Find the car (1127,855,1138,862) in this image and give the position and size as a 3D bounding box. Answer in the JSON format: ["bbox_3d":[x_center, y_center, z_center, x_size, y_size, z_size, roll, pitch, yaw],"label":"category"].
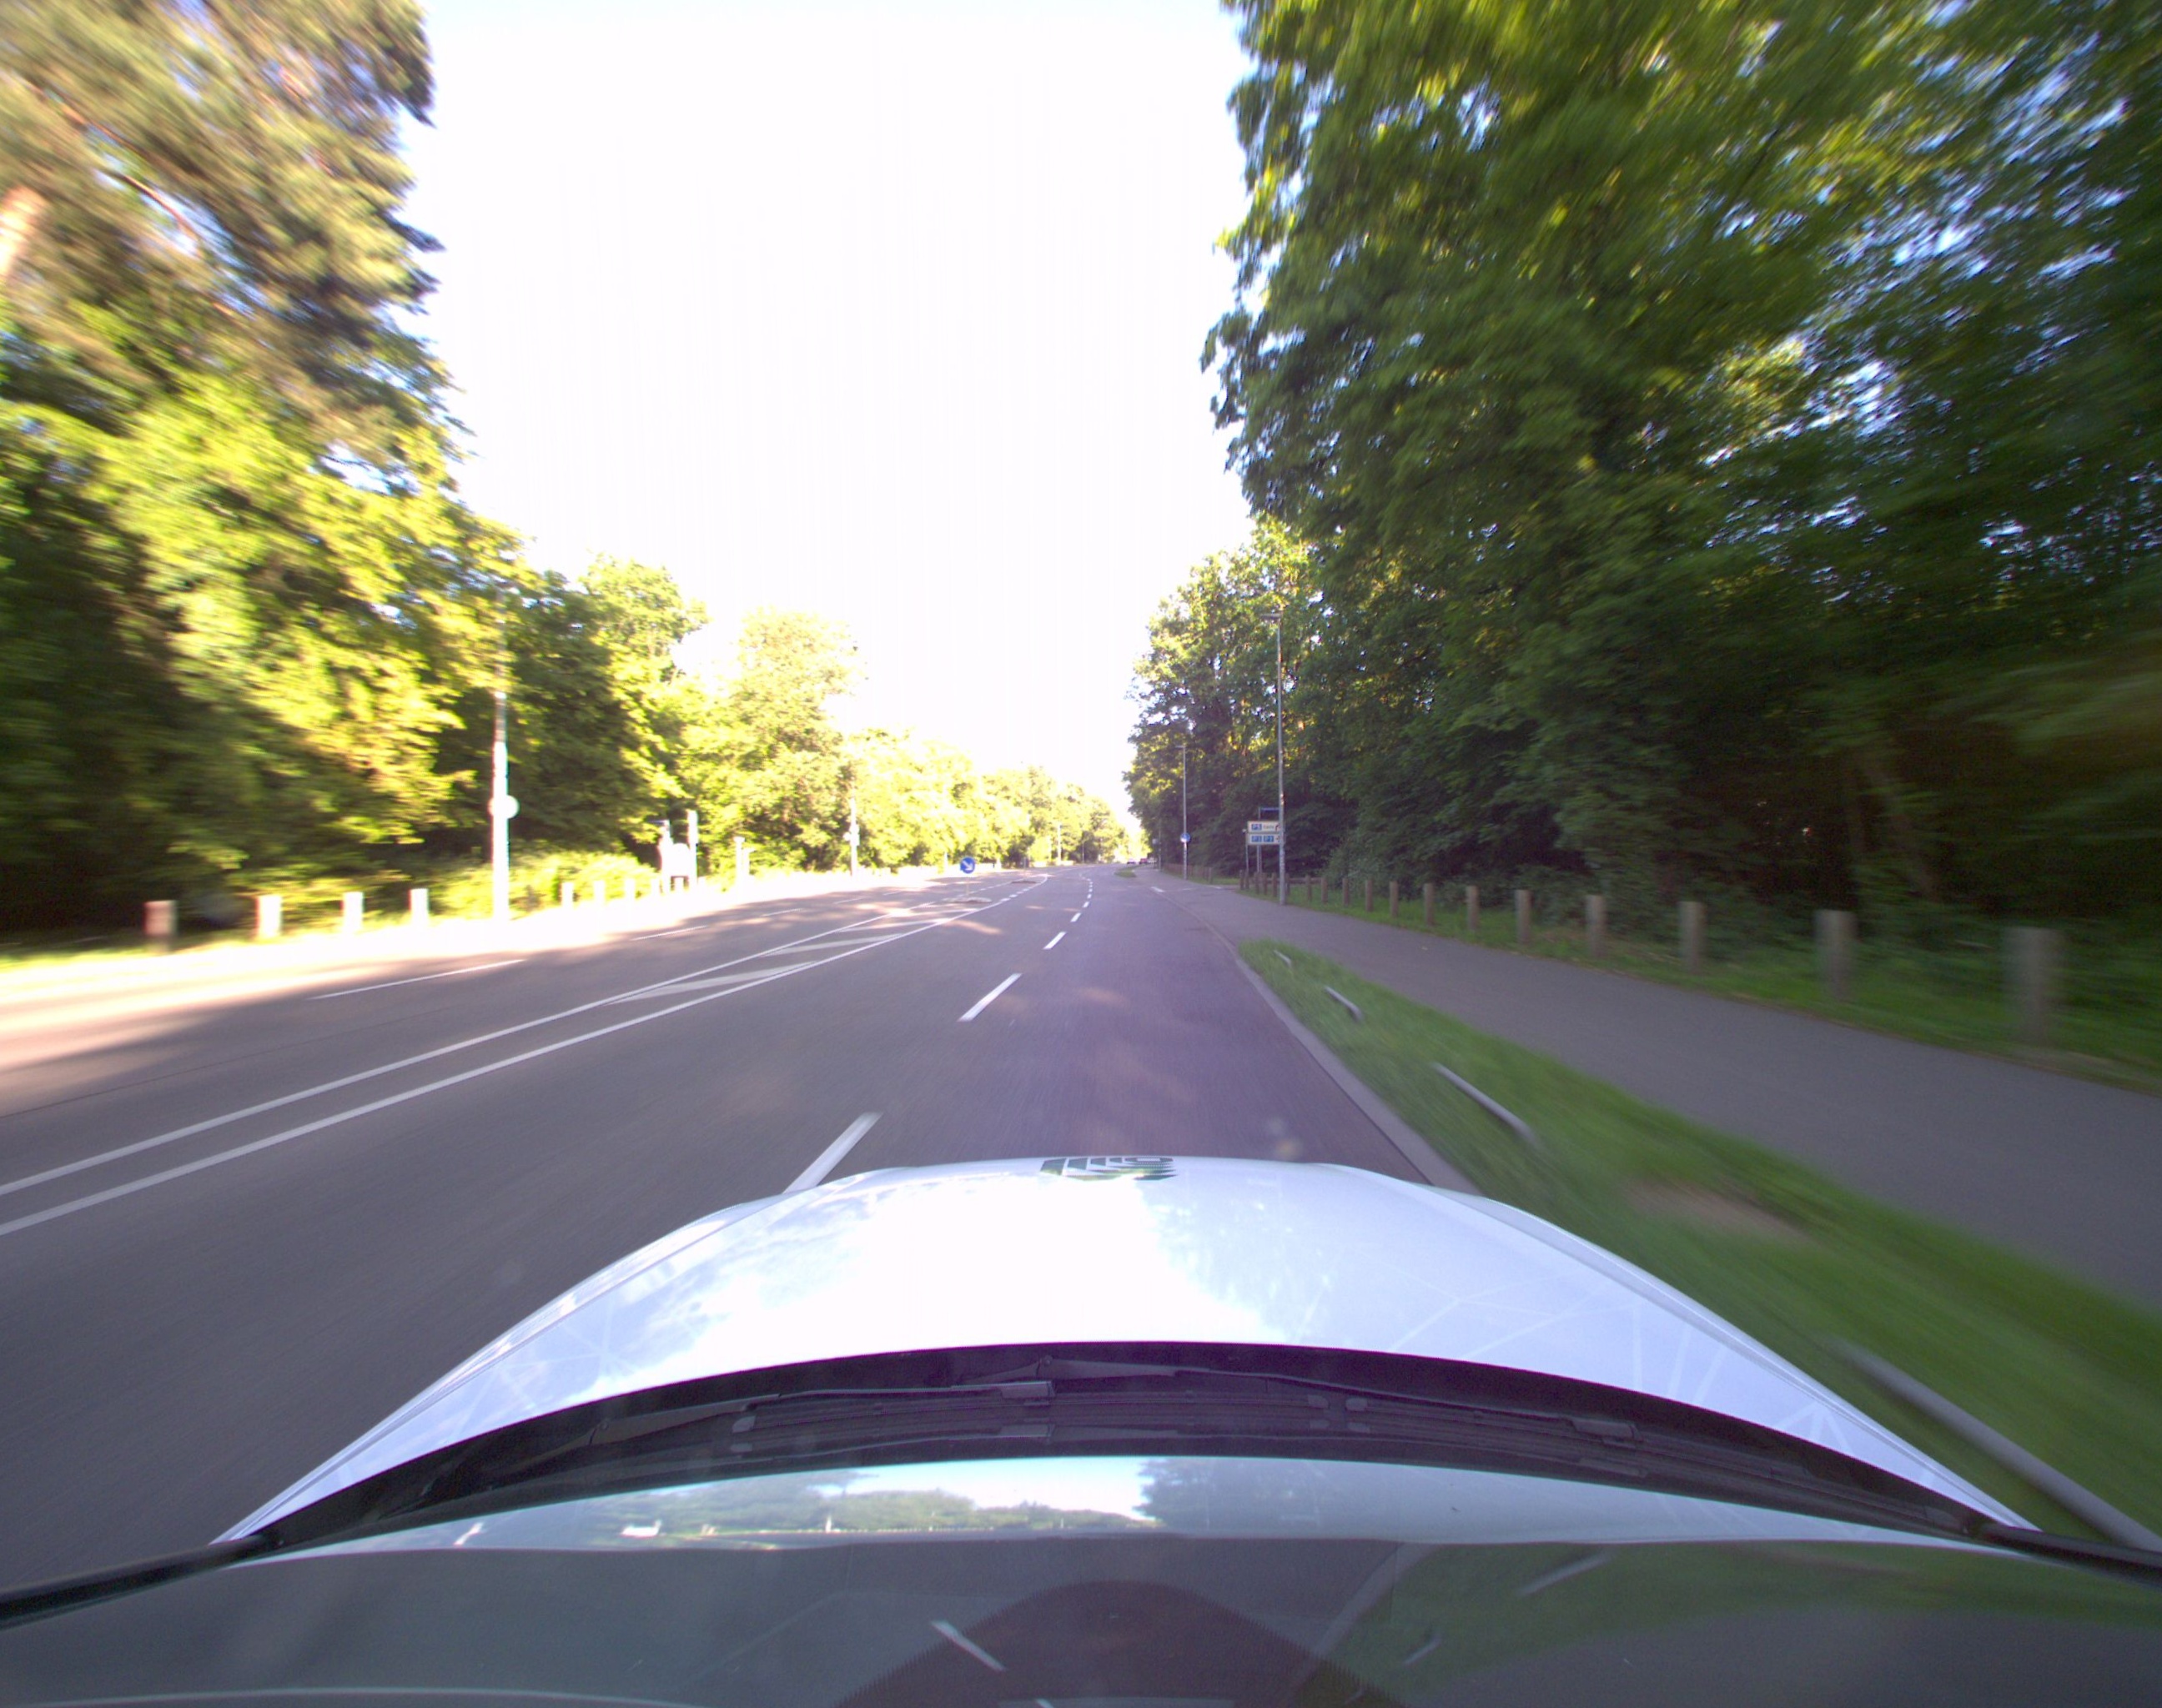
[{"bbox_3d":[12.162,1.052,192.583,1.867,1.709,4.015,-1,0,14],"label":"car"}]

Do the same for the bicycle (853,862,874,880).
[{"bbox_3d":[-14.439,1.100,54.058,0.398,1.132,2.226,1,0,11],"label":"bicycle"}]

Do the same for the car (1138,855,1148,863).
[{"bbox_3d":[14.655,1.219,192.066,1.867,1.765,4.015,-1,0,14],"label":"car"}]

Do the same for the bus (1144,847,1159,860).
[{"bbox_3d":[17.826,-0.189,206.513,2.587,3.368,8.005,0,0,13],"label":"bus"}]
